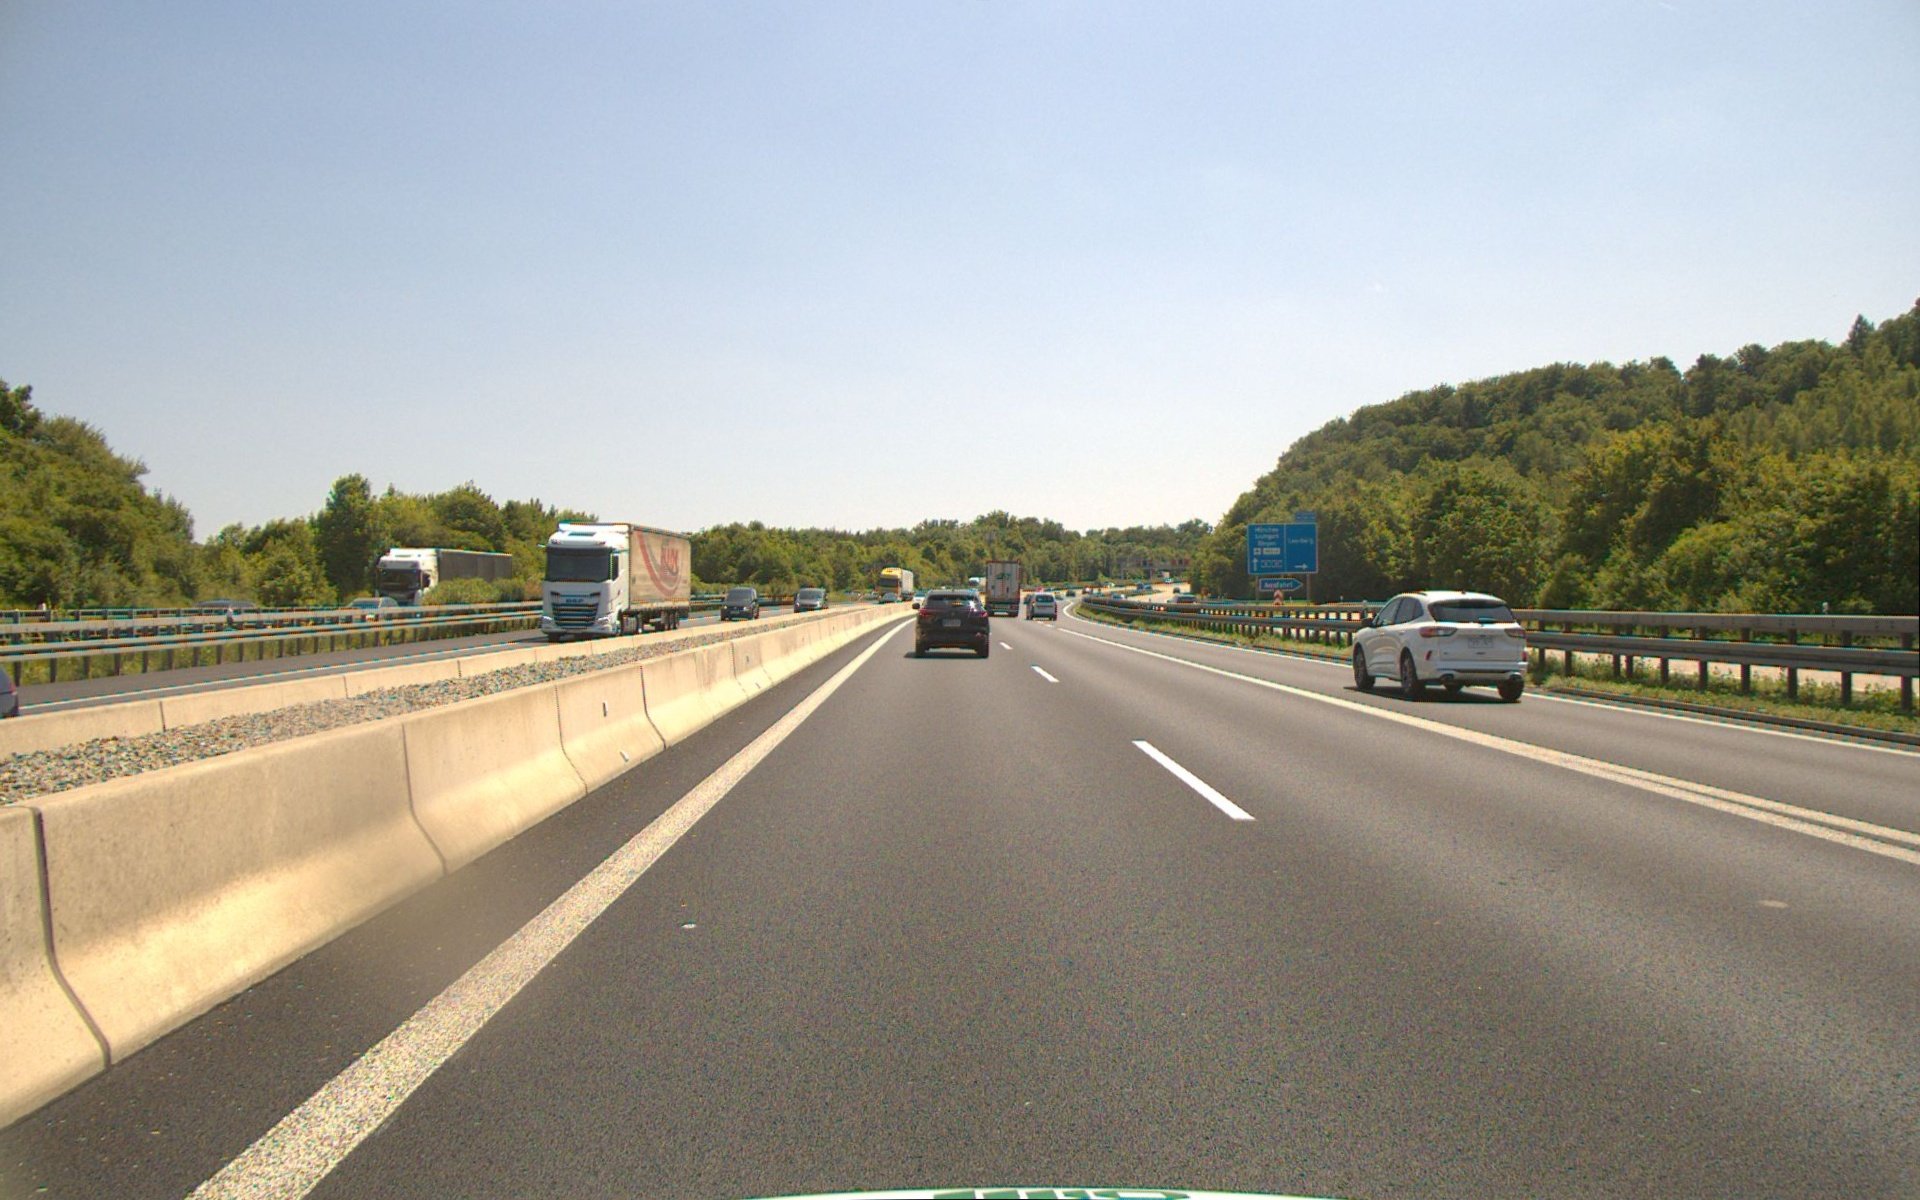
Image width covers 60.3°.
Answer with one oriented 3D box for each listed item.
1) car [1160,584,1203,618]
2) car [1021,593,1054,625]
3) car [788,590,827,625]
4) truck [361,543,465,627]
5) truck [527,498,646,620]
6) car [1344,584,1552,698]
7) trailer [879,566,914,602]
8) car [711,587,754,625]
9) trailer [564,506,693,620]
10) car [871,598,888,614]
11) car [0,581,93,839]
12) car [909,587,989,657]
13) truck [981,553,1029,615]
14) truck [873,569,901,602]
[{"bbox_3d":[13.890,0.037,104.040,1.954,2.049,3.998,-1,0,-3],"label":"car"},{"bbox_3d":[5.155,0.570,110.992,1.953,2.049,4.000,-2,0,0],"label":"car"},{"bbox_3d":[-9.230,0.435,100.491,2.009,2.049,4.953,1,0,-1],"label":"car"},{"bbox_3d":[-28.268,-0.738,85.812,3.154,4.116,6.638,1,0,-1],"label":"truck"},{"bbox_3d":[-13.040,-1.354,58.221,2.869,4.042,5.897,1,0,-1],"label":"truck"},{"bbox_3d":[7.852,0.616,27.089,1.953,1.691,4.466,1,0,-2],"label":"car"},{"bbox_3d":[-7.984,-1.987,209.333,2.660,4.387,12.832,1,0,6],"label":"trailer"},{"bbox_3d":[-12.748,0.321,92.982,1.953,2.049,4.482,1,0,-3],"label":"car"},{"bbox_3d":[-13.132,-1.341,66.726,2.850,4.116,12.061,1,0,-1],"label":"trailer"},{"bbox_3d":[-8.205,0.617,168.560,1.694,1.563,4.610,1,0,-3],"label":"car"},{"bbox_3d":[-7.820,0.773,10.755,1.944,1.858,4.824,1,0,-2],"label":"car"},{"bbox_3d":[-0.315,0.516,40.630,1.744,1.605,3.997,1,0,-4],"label":"car"},{"bbox_3d":[3.505,-1.154,126.316,2.968,4.496,12.025,1,0,5],"label":"truck"},{"bbox_3d":[-8.805,-1.736,200.527,2.691,3.820,4.869,1,0,5],"label":"truck"}]
